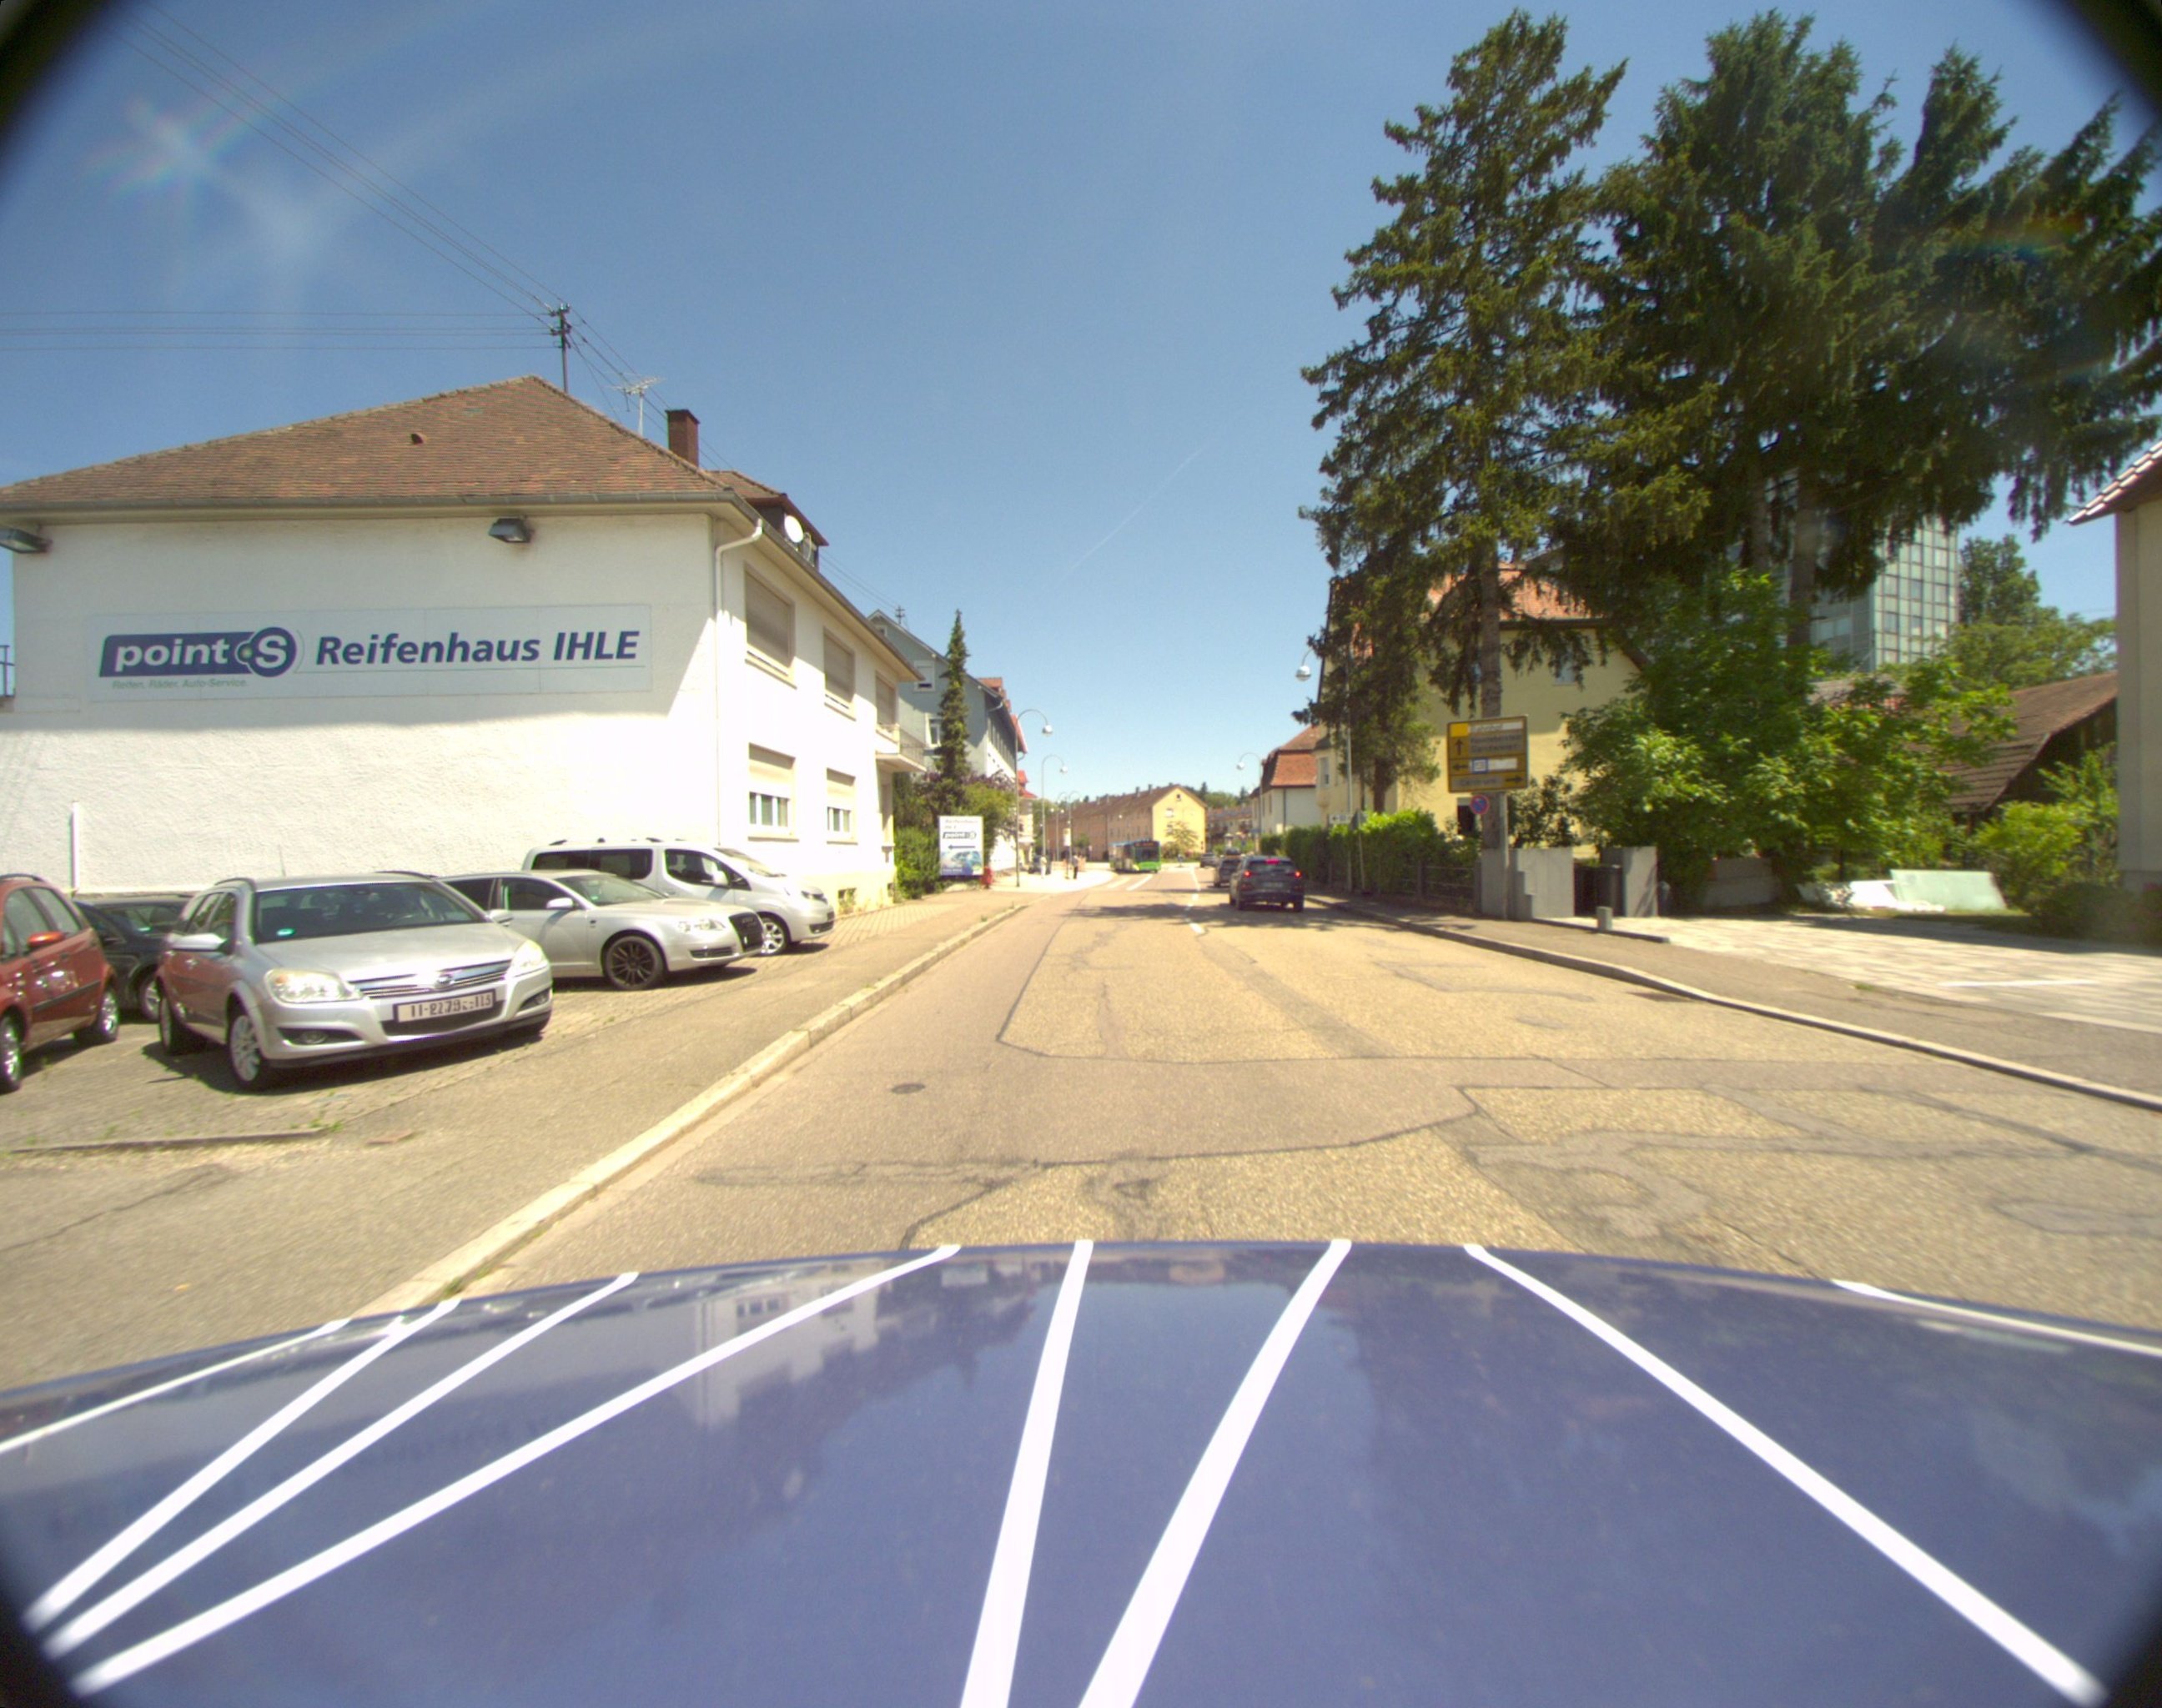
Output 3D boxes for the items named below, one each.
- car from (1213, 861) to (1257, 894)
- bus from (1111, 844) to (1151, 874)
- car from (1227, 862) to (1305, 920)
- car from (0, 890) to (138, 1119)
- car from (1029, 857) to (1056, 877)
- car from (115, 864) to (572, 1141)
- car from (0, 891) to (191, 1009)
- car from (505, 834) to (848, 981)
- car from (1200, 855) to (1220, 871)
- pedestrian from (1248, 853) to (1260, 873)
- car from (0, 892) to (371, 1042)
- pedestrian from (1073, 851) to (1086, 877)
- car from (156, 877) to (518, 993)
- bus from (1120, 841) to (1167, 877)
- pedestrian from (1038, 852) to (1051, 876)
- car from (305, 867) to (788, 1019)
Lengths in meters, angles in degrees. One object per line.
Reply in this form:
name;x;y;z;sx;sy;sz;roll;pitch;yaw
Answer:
car;7.513;1.089;37.391;1.809;1.480;4.389;1;0;7
bus;5.483;0.641;86.174;2.929;3.043;12.560;-2;-1;-3
car;5.374;1.015;22.515;1.744;1.496;4.145;1;0;7
car;-9.404;1.167;6.026;1.642;1.633;4.293;-4;1;-42
car;-3.108;1.059;62.196;1.762;1.505;3.742;2;0;2
car;-6.312;0.984;6.370;4.293;1.539;1.759;-3;1;33
car;-16.396;1.428;11.512;3.994;1.477;2.001;-2;1;11
car;-6.069;0.766;11.883;4.303;1.820;1.738;-4;0;-7
car;13.712;0.952;80.831;1.857;1.607;4.299;-2;0;8
pedestrian;13.661;0.701;60.011;0.614;1.555;0.824;-6;0;5
car;-11.584;1.337;9.443;3.994;1.477;2.001;-2;1;11
pedestrian;-0.105;0.686;52.731;0.751;1.794;0.615;2;1;-13
car;-11.324;1.204;11.714;3.994;1.477;2.001;-2;1;11
bus;5.890;0.520;73.604;2.911;3.062;12.561;-2;-1;-2
pedestrian;-2.466;0.699;51.450;0.614;1.606;0.751;2;0;18
car;-6.294;1.012;9.315;4.651;1.400;1.769;-4;0;2
